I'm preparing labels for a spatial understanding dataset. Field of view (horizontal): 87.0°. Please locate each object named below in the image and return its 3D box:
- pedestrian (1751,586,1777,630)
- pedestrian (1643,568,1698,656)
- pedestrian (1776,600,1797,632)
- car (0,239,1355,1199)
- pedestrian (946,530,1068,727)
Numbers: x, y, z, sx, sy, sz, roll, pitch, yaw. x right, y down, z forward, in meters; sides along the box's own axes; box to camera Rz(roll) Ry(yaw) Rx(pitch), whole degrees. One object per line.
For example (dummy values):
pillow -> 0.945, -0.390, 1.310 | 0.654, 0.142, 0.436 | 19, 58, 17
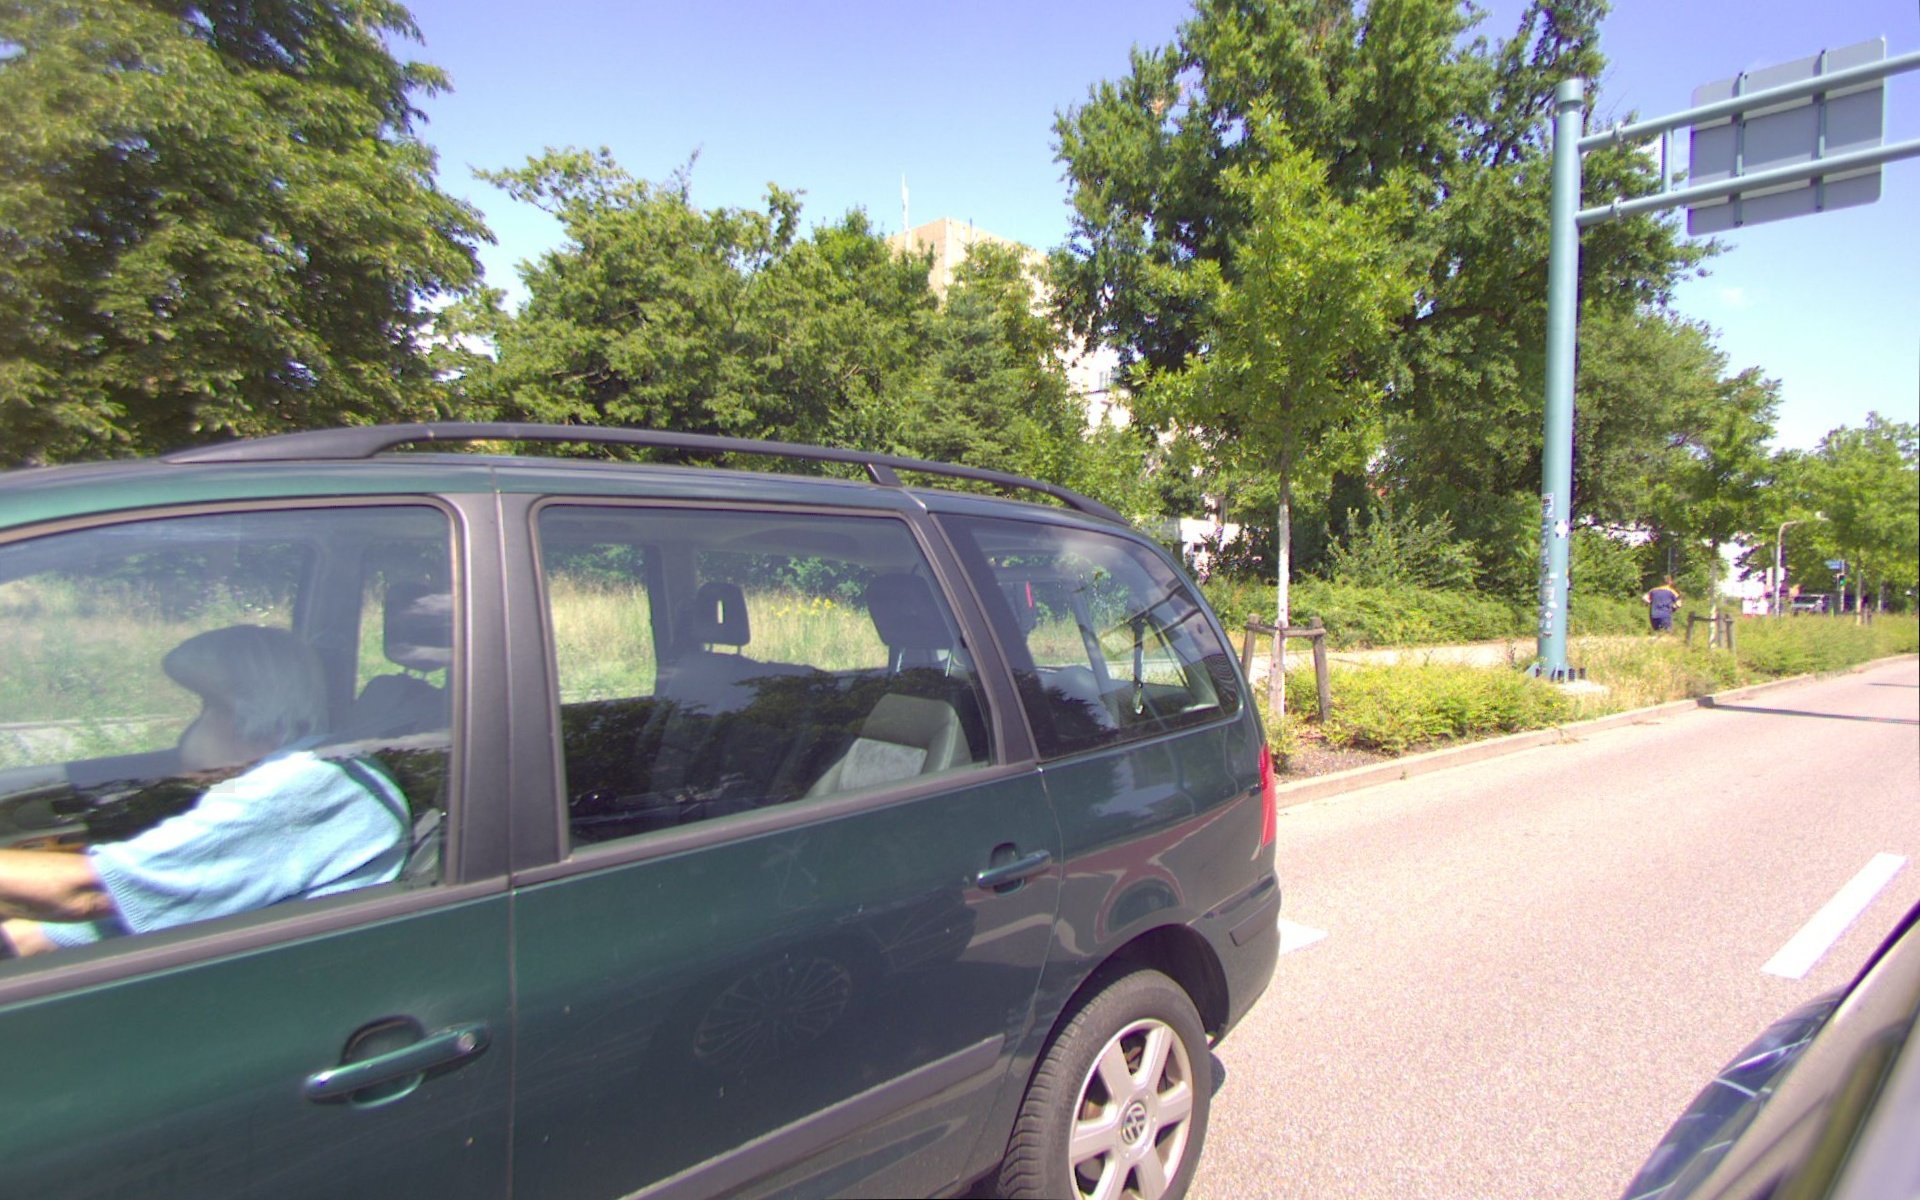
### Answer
pedestrian -> 38.645, 0.365, 48.643 | 0.839, 2.063, 0.891 | 1, 0, 31
pedestrian -> 14.807, 0.233, 21.087 | 0.869, 1.787, 0.640 | 1, 1, -35
pedestrian -> 43.347, 0.815, 53.089 | 0.763, 1.630, 0.755 | 2, 1, 37
car -> -1.158, 0.528, 1.949 | 4.315, 1.737, 1.804 | 0, -1, -41
pedestrian -> 0.420, 0.243, 9.278 | 0.799, 1.705, 0.762 | 1, 1, -29
